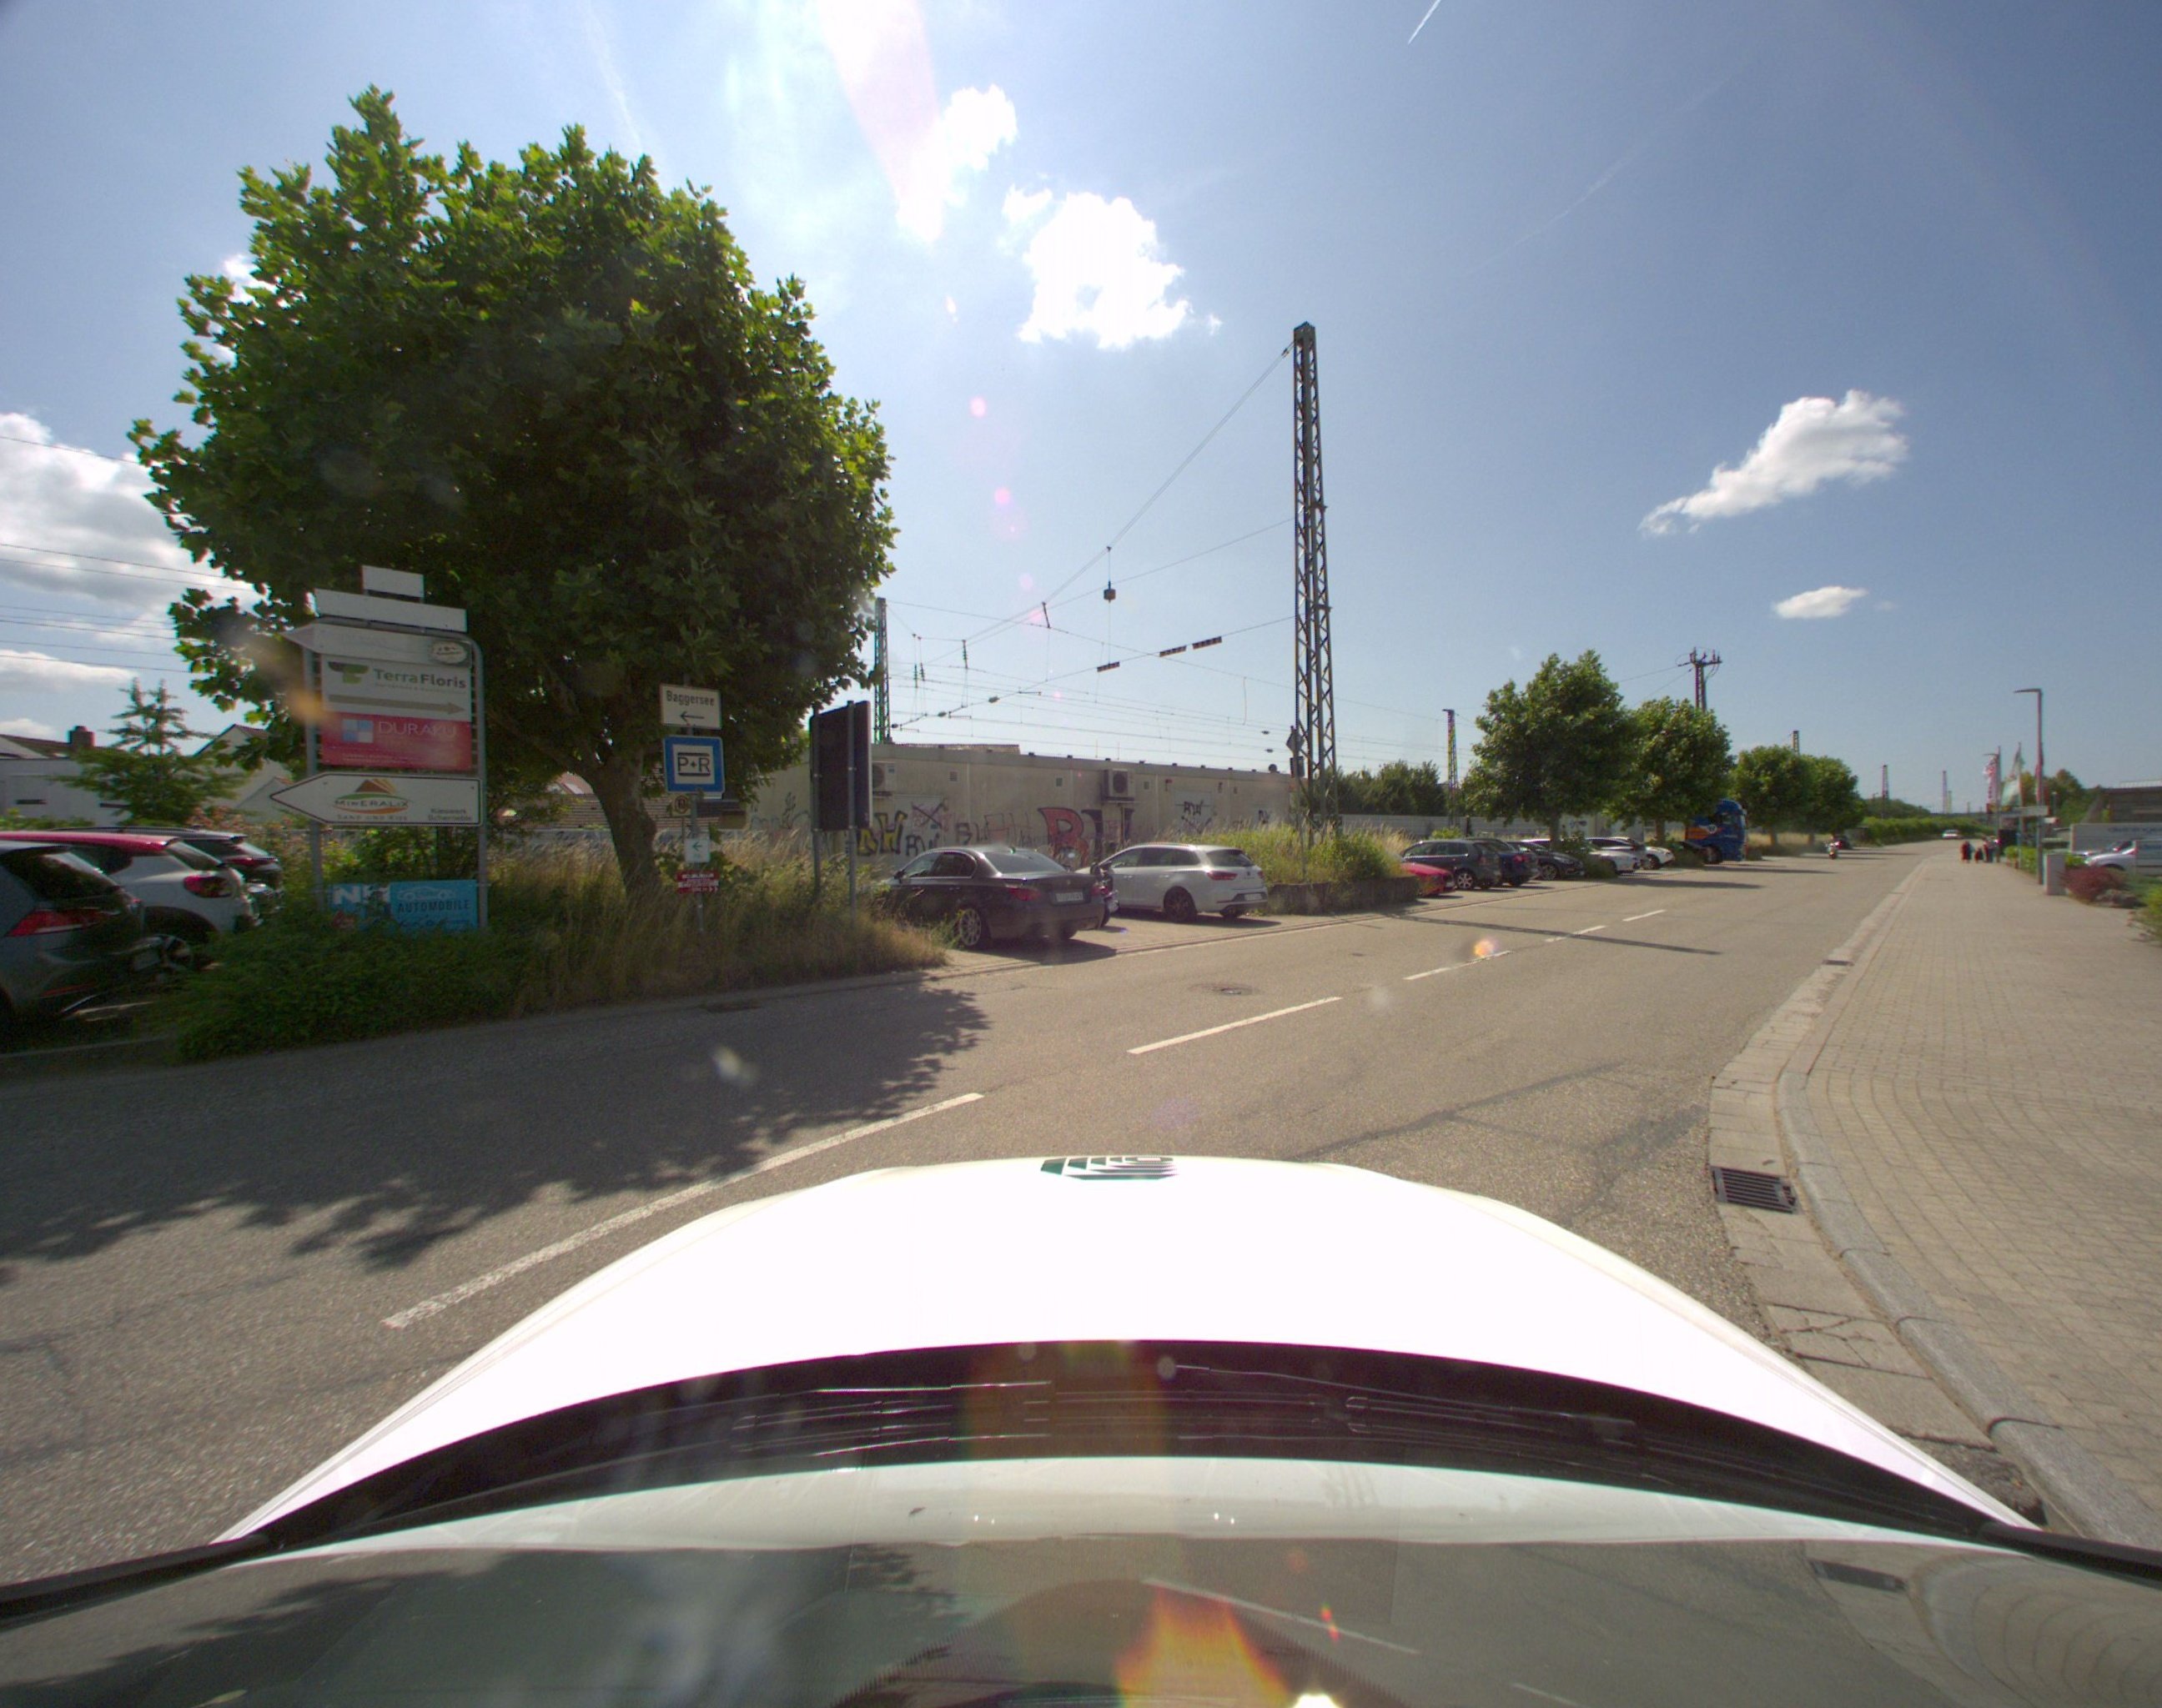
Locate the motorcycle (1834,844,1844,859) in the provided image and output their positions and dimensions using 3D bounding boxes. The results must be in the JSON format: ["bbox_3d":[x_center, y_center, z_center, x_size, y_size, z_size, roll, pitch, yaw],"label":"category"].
[{"bbox_3d":[54.743,-0.218,58.825,0.459,1.050,1.967,0,1,45],"label":"motorcycle"}]

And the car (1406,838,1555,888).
[{"bbox_3d":[12.708,0.260,26.085,1.795,1.450,3.913,-1,1,-38],"label":"car"}]

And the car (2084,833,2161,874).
[{"bbox_3d":[38.230,-0.030,28.843,1.779,1.401,3.324,-1,0,-41],"label":"car"}]

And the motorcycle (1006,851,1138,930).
[{"bbox_3d":[-0.224,0.616,14.642,0.722,1.281,2.699,-1,0,-43],"label":"motorcycle"}]

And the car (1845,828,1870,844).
[{"bbox_3d":[81.691,-1.884,85.684,3.599,1.596,1.726,-2,2,-43],"label":"car"}]

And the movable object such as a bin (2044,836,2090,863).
[{"bbox_3d":[54.975,-0.262,45.413,1.255,1.458,1.052,0,2,10],"label":"movable object such as a bin"}]

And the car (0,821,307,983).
[{"bbox_3d":[-11.591,0.496,9.021,4.104,1.637,1.978,-1,0,-36],"label":"car"}]

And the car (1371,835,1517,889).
[{"bbox_3d":[10.851,0.183,24.494,1.694,1.447,3.633,-2,2,-44],"label":"car"}]

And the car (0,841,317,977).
[{"bbox_3d":[-13.403,0.691,11.113,4.105,1.637,1.978,-1,0,-37],"label":"car"}]

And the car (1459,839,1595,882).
[{"bbox_3d":[16.474,0.219,30.237,1.796,1.472,4.037,-1,0,-42],"label":"car"}]

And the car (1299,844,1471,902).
[{"bbox_3d":[8.171,0.441,22.150,1.683,1.368,4.038,-3,3,-42],"label":"car"}]

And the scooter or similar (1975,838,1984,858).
[{"bbox_3d":[53.370,-0.345,48.397,0.400,1.198,0.331,1,-2,-42],"label":"scooter or similar"}]

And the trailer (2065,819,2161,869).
[{"bbox_3d":[44.758,-0.420,34.421,2.011,2.014,3.952,-1,-1,-41],"label":"trailer"}]

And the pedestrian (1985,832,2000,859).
[{"bbox_3d":[53.664,-0.508,47.963,0.513,1.540,0.530,1,-2,-43],"label":"pedestrian"}]

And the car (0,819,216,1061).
[{"bbox_3d":[-8.493,0.582,5.008,4.080,1.530,1.672,-1,0,-36],"label":"car"}]

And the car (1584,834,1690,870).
[{"bbox_3d":[26.724,-0.114,39.192,3.933,1.618,1.862,0,1,44],"label":"car"}]

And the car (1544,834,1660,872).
[{"bbox_3d":[22.843,-0.074,35.807,2.012,1.547,3.951,-1,1,-44],"label":"car"}]

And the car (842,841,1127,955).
[{"bbox_3d":[-1.596,0.563,12.284,4.384,1.410,1.799,-1,0,42],"label":"car"}]

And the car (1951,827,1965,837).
[{"bbox_3d":[166.309,-4.091,154.432,4.508,1.858,1.822,-2,1,-42],"label":"car"}]

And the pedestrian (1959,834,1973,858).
[{"bbox_3d":[52.965,-0.470,48.740,0.587,1.405,0.560,1,-2,-43],"label":"pedestrian"}]

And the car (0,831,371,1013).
[{"bbox_3d":[-9.364,0.577,7.868,3.594,1.537,1.777,-1,0,-36],"label":"car"}]

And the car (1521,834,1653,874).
[{"bbox_3d":[20.970,-0.035,33.873,1.937,1.532,4.300,-2,2,-43],"label":"car"}]

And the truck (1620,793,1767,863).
[{"bbox_3d":[36.002,-1.428,48.056,2.679,3.823,6.554,-1,0,-44],"label":"truck"}]

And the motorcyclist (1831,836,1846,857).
[{"bbox_3d":[54.821,-0.564,58.910,0.926,1.509,0.768,-1,1,-44],"label":"motorcyclist"}]

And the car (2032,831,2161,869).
[{"bbox_3d":[46.828,-0.141,37.269,1.811,1.634,4.174,1,-2,-43],"label":"car"}]

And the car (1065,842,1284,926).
[{"bbox_3d":[1.718,0.482,15.953,1.797,1.401,4.036,-1,2,-44],"label":"car"}]
